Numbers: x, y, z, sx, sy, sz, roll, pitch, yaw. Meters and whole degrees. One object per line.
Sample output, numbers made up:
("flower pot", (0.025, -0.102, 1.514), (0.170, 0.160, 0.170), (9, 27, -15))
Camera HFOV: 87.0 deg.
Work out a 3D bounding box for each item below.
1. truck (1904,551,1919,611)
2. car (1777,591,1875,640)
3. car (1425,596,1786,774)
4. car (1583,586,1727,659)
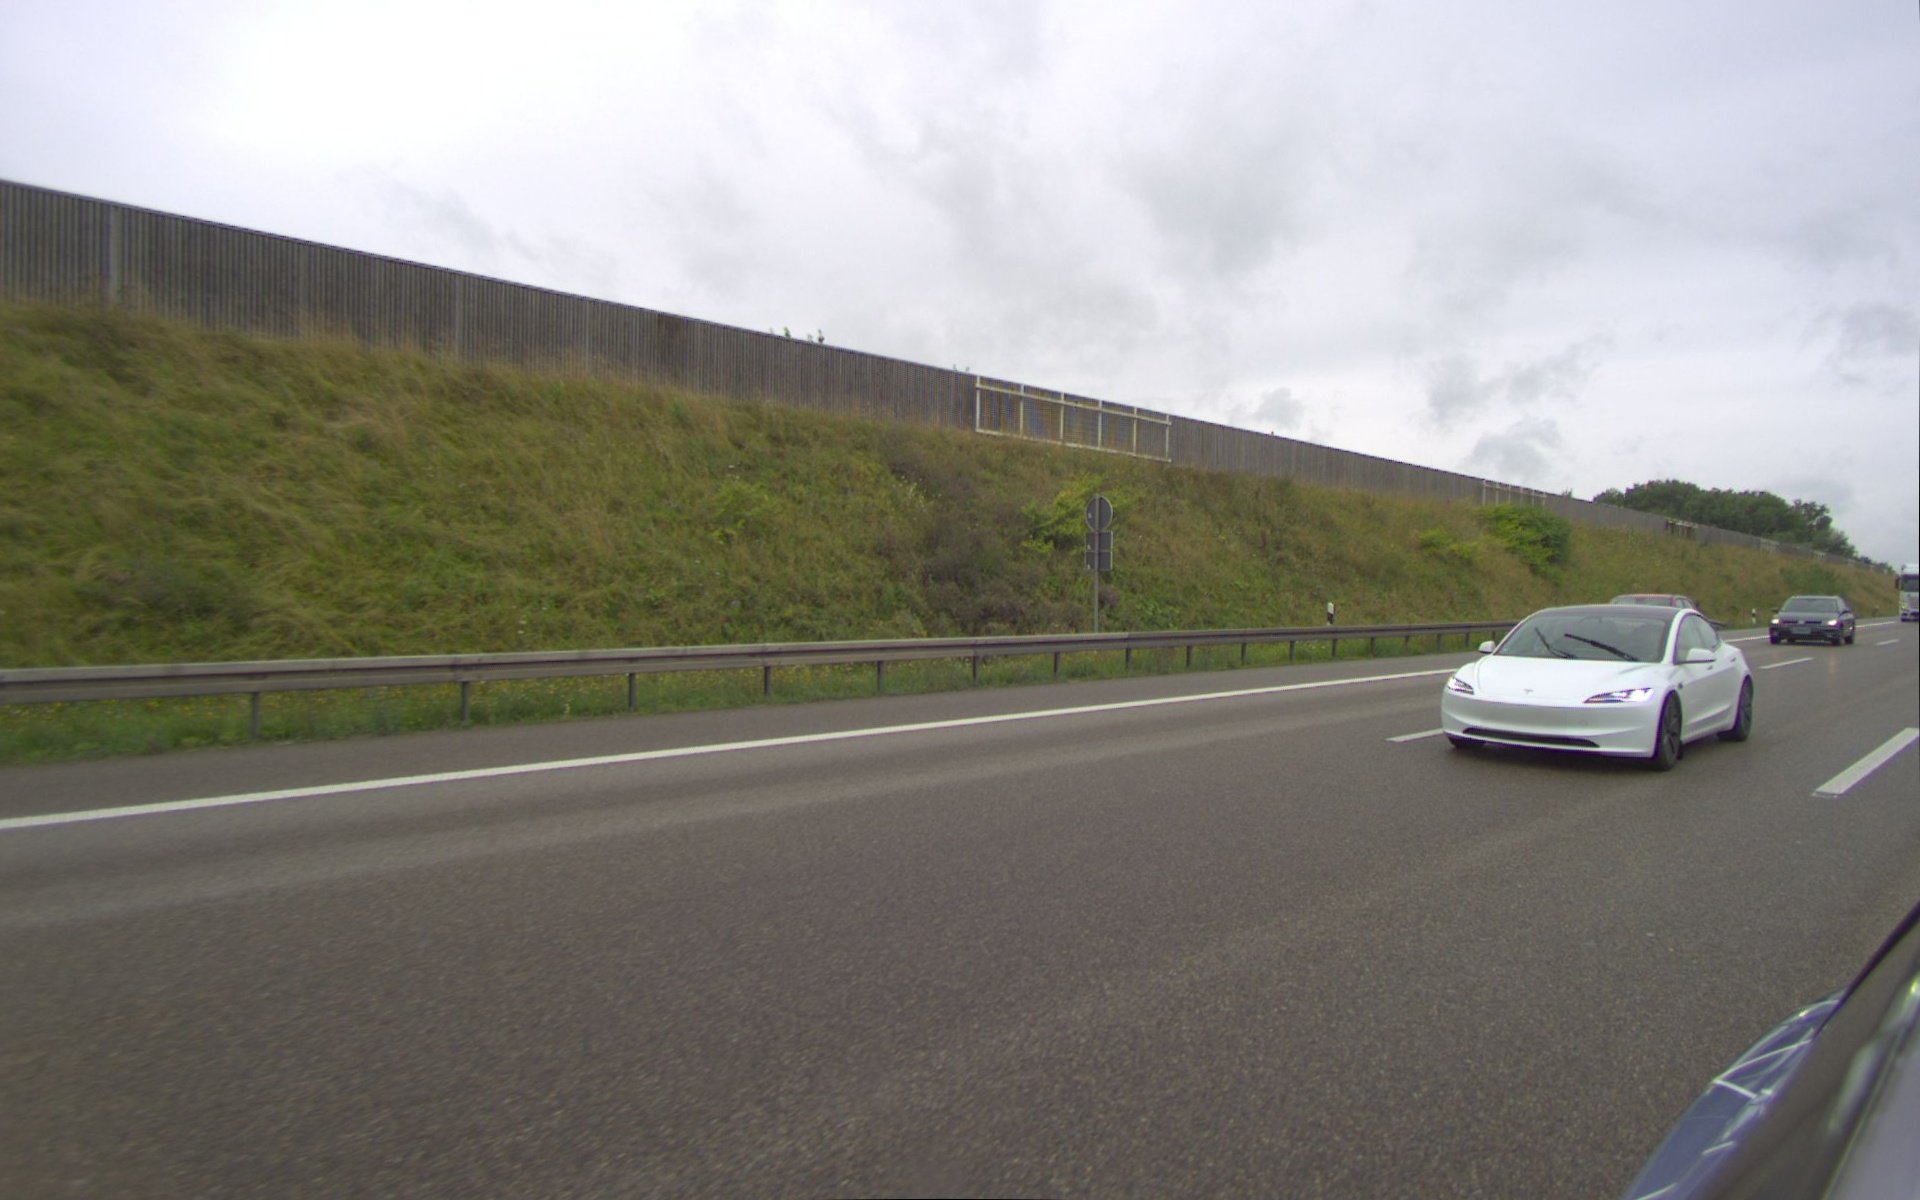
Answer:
("truck", (68.071, -1.329, 70.458), (6.841, 4.077, 3.084), (-1, 0, -44))
("car", (29.217, 0.466, 34.115), (4.408, 1.507, 1.927), (-1, 1, -41))
("car", (6.773, 0.670, 10.379), (4.729, 1.380, 1.876), (-1, 1, -41))
("car", (16.205, 0.462, 23.544), (3.931, 1.554, 1.876), (-1, 1, -41))
